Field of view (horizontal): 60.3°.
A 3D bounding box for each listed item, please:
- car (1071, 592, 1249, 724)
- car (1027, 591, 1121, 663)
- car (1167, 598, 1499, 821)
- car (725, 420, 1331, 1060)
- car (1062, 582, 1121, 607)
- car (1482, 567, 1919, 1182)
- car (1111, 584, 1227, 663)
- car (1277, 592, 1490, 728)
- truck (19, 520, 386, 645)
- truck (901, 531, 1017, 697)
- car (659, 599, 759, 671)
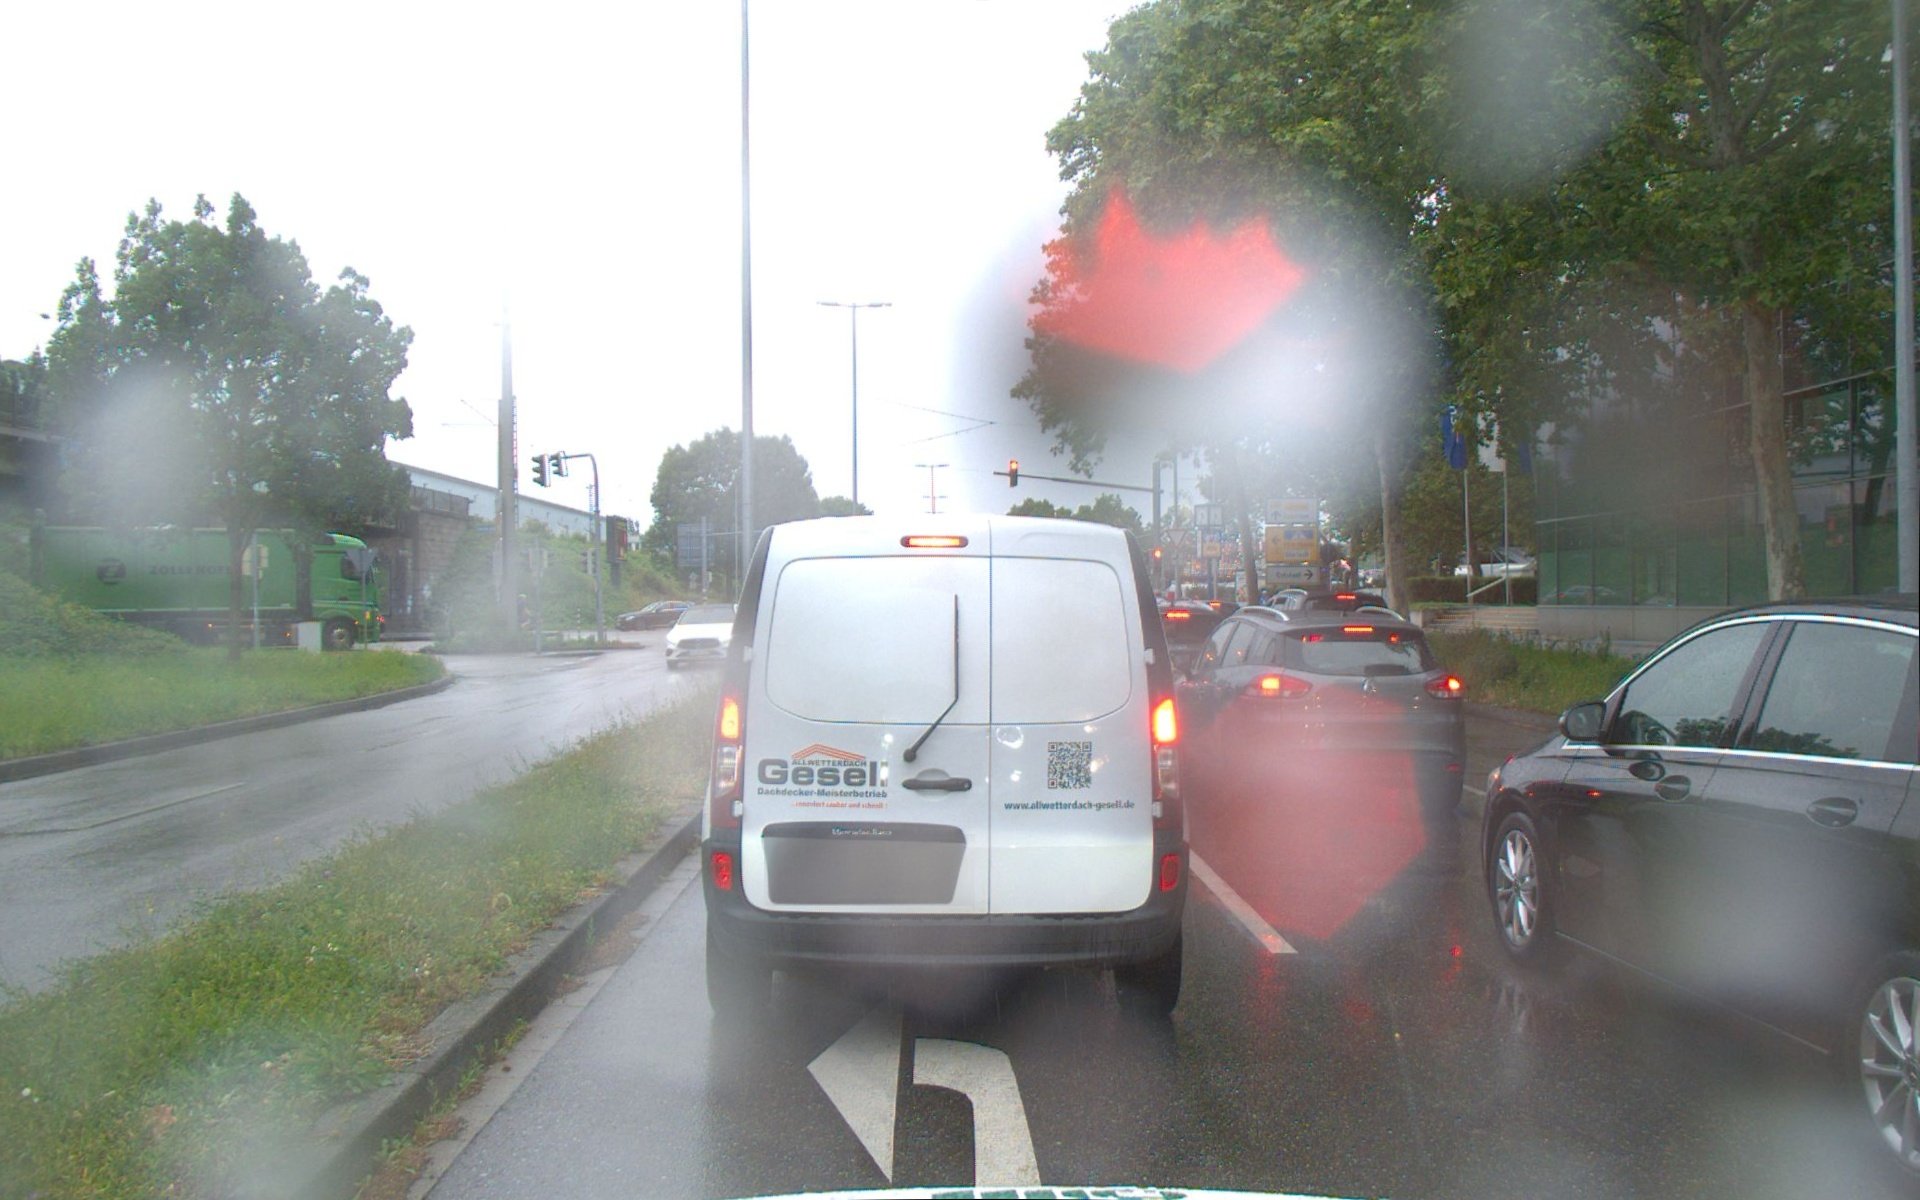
[{"bbox_3d":[2.393,0.646,20.659,1.677,1.470,3.999,0,0,-1],"label":"car"},{"bbox_3d":[2.417,0.546,35.870,1.677,1.470,3.999,0,0,-1],"label":"car"},{"bbox_3d":[2.756,0.728,13.108,1.677,1.470,3.999,0,0,-1],"label":"car"},{"bbox_3d":[0.145,0.442,7.340,1.953,2.049,3.998,0,0,-3],"label":"car"},{"bbox_3d":[9.437,-0.381,118.873,3.904,1.743,1.773,0,-2,21],"label":"car"},{"bbox_3d":[3.248,0.687,5.403,1.674,1.577,3.998,0,1,-3],"label":"car"},{"bbox_3d":[4.388,0.479,35.226,1.802,1.563,4.110,1,0,-2],"label":"car"},{"bbox_3d":[5.894,0.791,23.544,1.819,1.756,4.188,0,0,-2],"label":"car"},{"bbox_3d":[-23.271,-0.391,51.345,10.037,3.512,2.622,2,-2,-38],"label":"truck"},{"bbox_3d":[-0.086,0.221,27.033,1.721,2.509,3.998,0,0,-3],"label":"truck"},{"bbox_3d":[-5.987,0.815,39.833,1.789,1.596,3.999,-2,0,-1],"label":"car"}]
